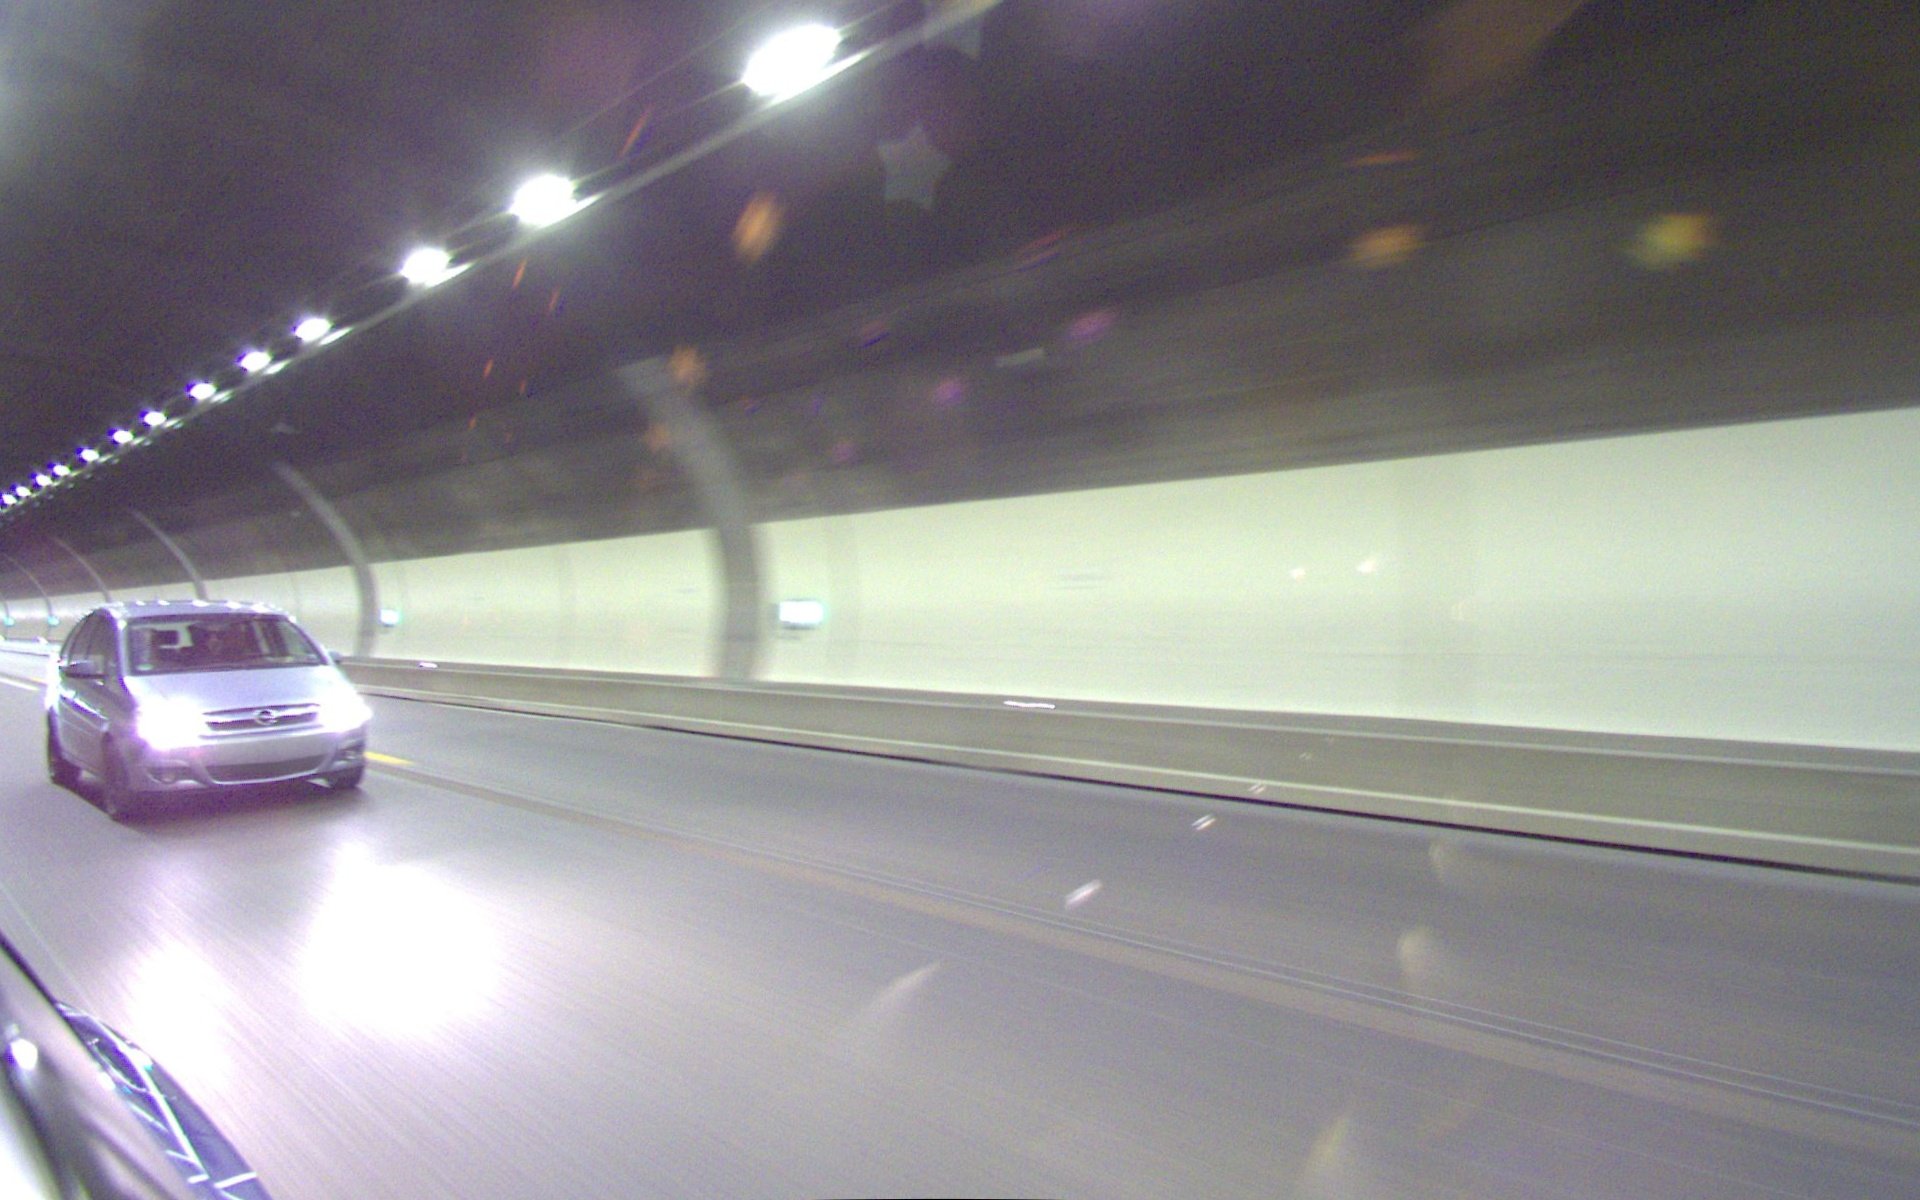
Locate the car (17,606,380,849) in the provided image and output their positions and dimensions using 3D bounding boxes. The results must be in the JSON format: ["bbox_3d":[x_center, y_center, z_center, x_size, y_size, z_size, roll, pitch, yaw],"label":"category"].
[{"bbox_3d":[-6.664,0.874,8.688,4.096,1.584,1.743,-1,-1,42],"label":"car"}]
